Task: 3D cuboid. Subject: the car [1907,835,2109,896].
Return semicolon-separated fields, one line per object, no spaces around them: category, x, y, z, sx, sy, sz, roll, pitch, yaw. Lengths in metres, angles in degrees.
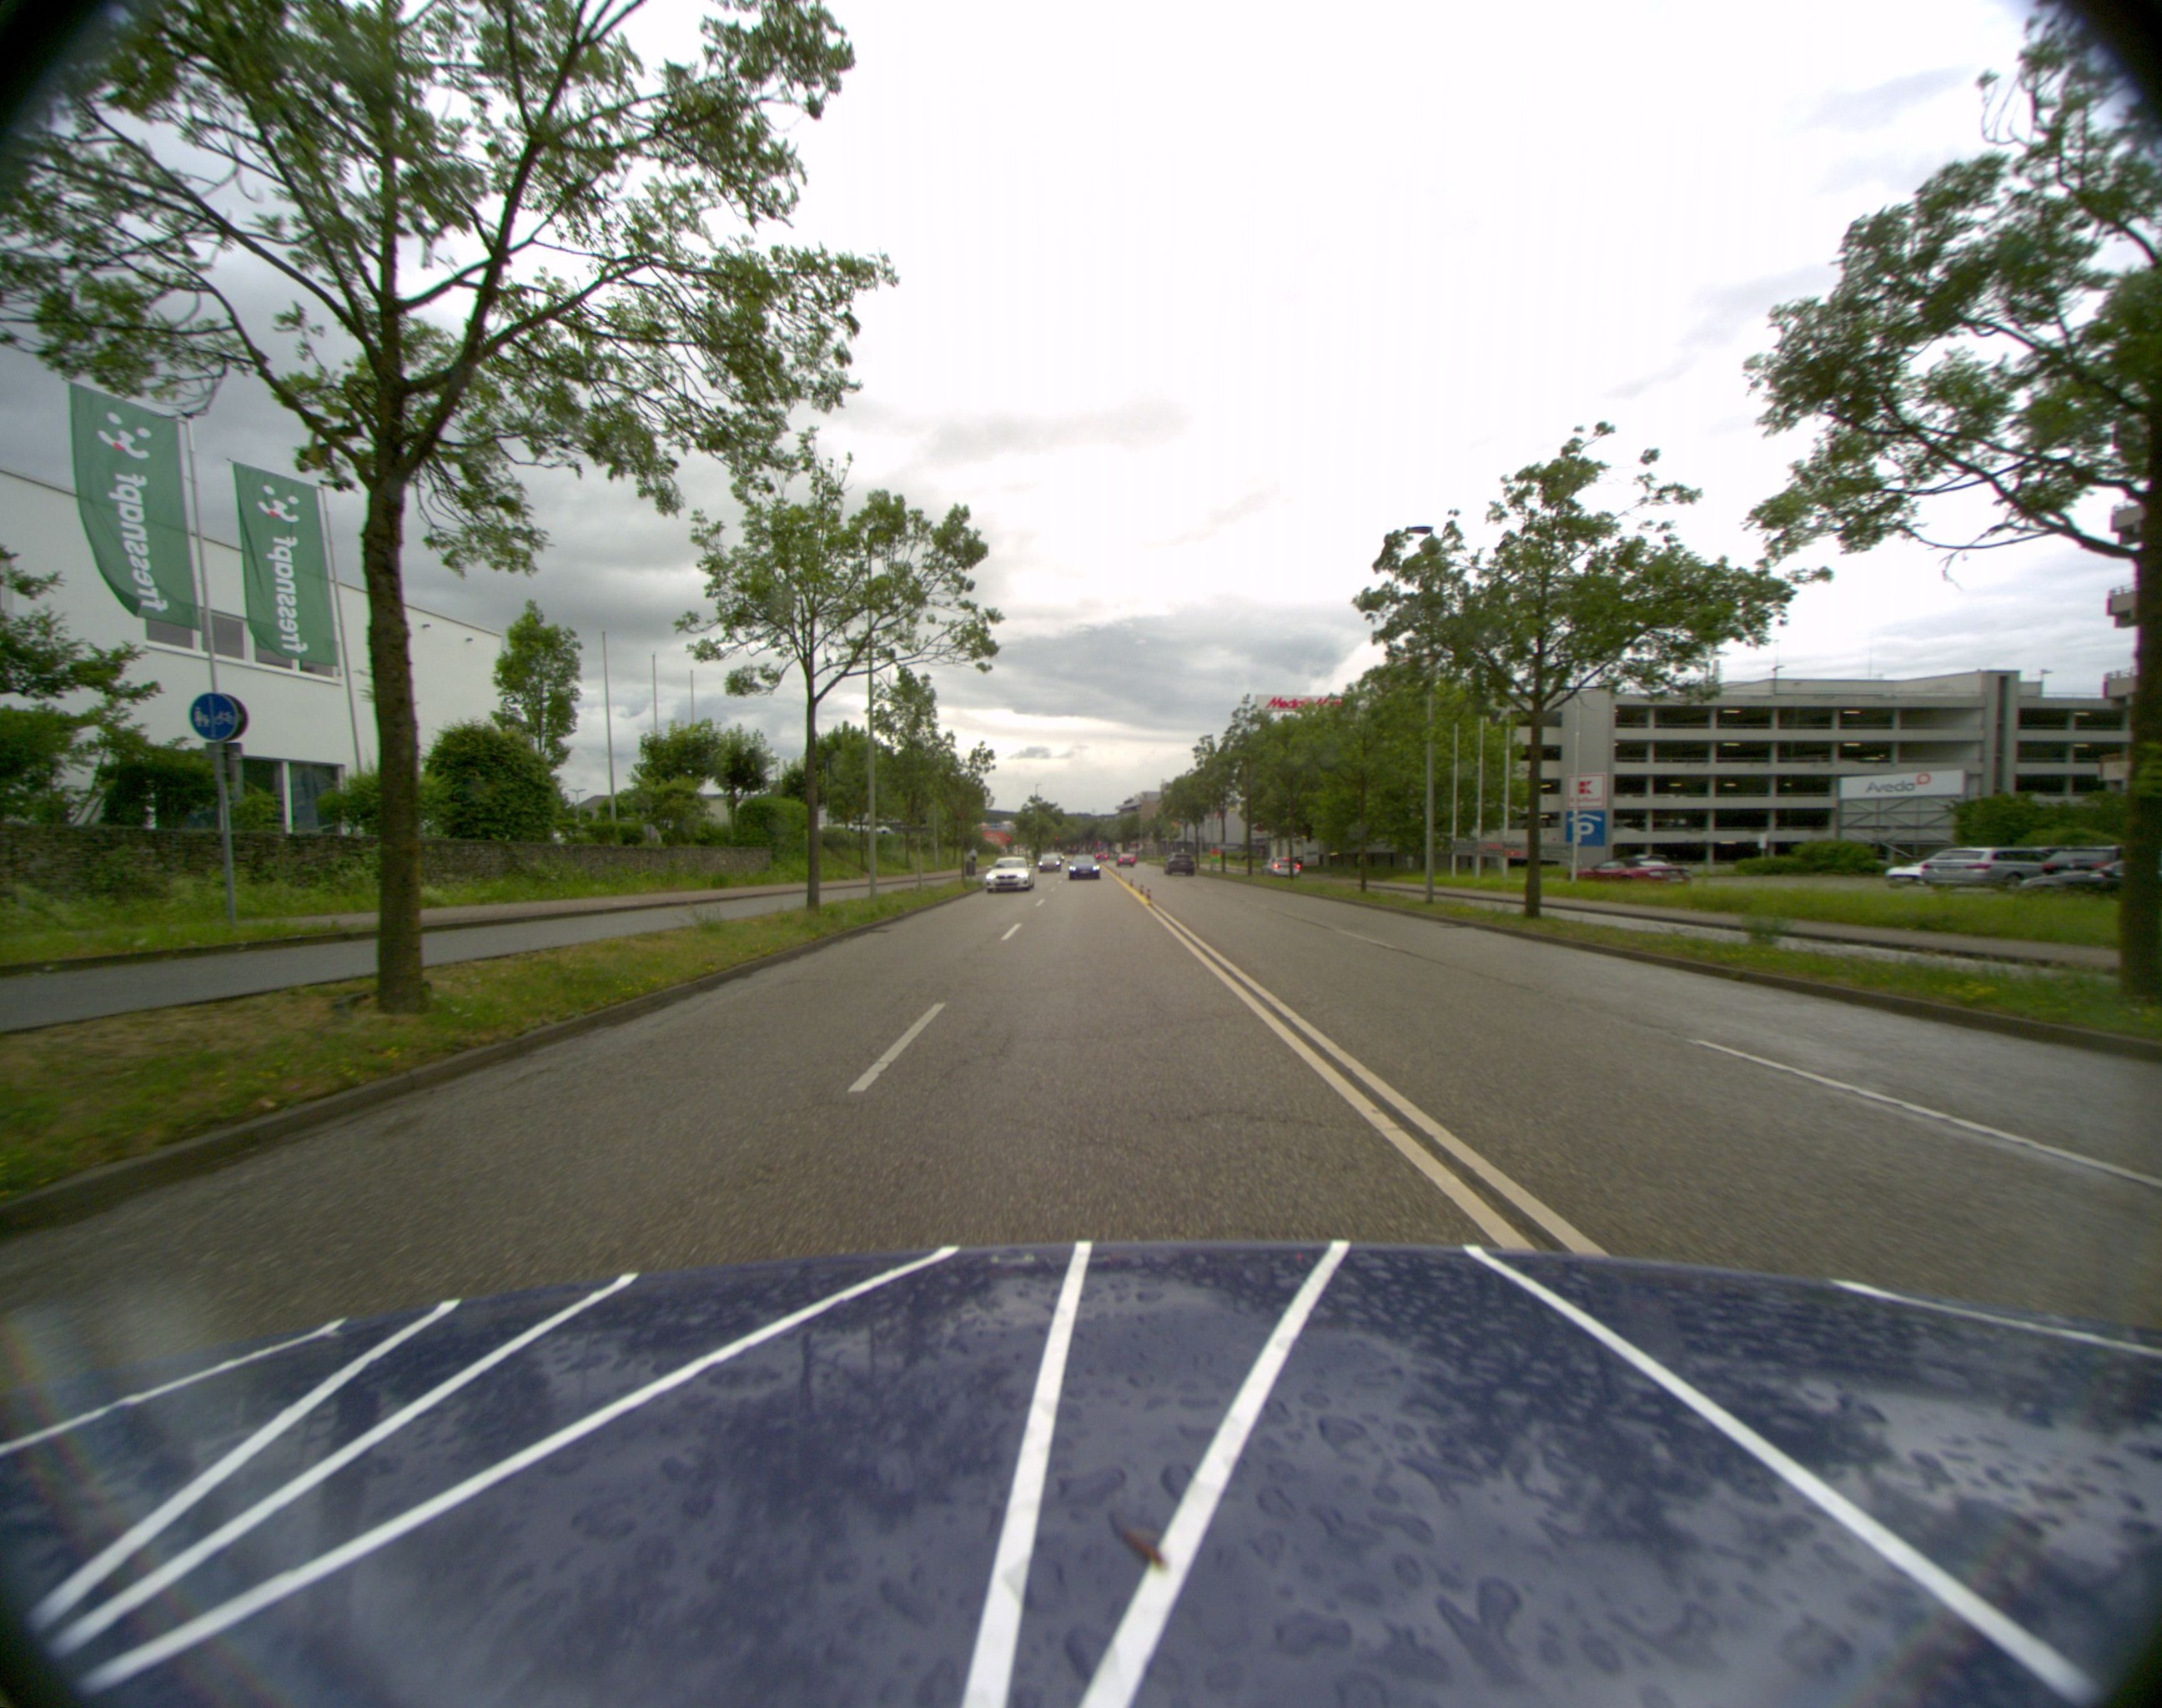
car;29.787;0.366;24.480;4.613;1.735;1.966;-2;-1;-8

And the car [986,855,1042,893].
car;-2.900;0.830;33.844;1.808;1.432;4.542;-2;1;3

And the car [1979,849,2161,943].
car;21.676;0.795;14.938;2.045;1.751;4.945;-2;-1;-3

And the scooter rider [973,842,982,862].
scooter rider;-9.443;-0.202;69.215;0.696;1.810;0.858;1;2;0

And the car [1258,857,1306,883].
car;12.952;0.994;49.302;1.872;1.544;4.575;2;0;0

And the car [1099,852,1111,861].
car;4.016;0.411;127.321;1.831;1.457;4.617;0;0;2

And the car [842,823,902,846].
car;-21.500;-1.984;78.308;5.625;2.130;2.120;2;1;-7

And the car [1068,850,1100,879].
car;0.179;0.584;45.999;1.799;1.572;4.218;-2;1;0

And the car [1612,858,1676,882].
car;33.091;0.965;44.673;2.705;1.357;1.609;1;-1;-10

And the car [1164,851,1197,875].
car;7.181;0.634;55.151;1.792;1.605;4.436;2;1;1

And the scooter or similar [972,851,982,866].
scooter or similar;-9.456;0.412;69.220;0.696;1.256;1.400;1;1;0

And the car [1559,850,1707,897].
car;20.834;0.716;28.991;1.938;1.599;4.710;-2;-1;-5

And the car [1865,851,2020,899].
car;34.285;0.816;30.286;4.614;1.735;1.965;-2;-1;-11

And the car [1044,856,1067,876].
car;-2.185;1.016;65.451;1.799;1.572;4.218;-2;1;0

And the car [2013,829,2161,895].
car;30.015;0.195;21.874;4.513;1.735;1.899;-2;-1;-8

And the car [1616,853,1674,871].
car;49.487;0.745;66.704;1.756;1.454;3.834;-4;2;-44

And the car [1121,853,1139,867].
car;5.220;0.639;81.740;1.671;1.402;4.377;2;0;1
